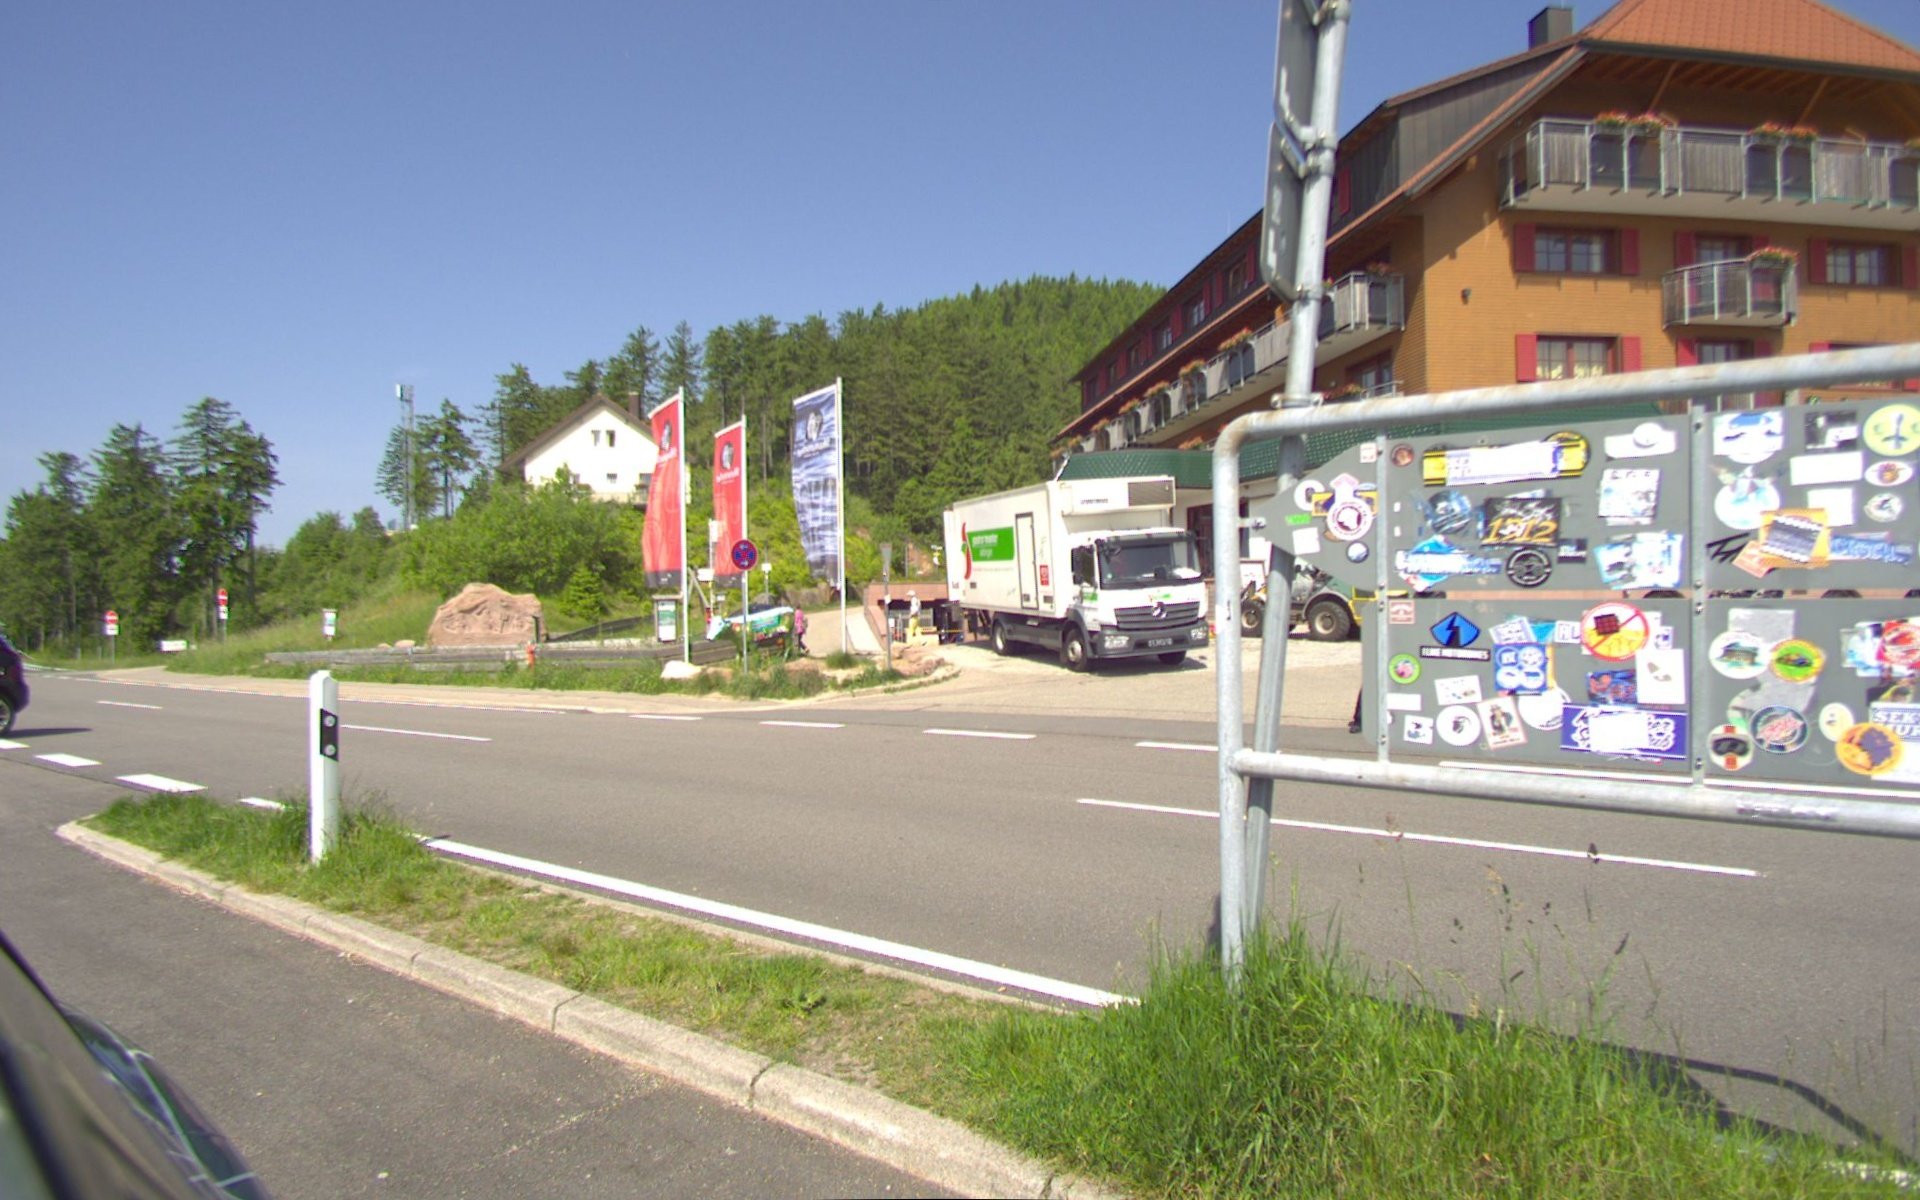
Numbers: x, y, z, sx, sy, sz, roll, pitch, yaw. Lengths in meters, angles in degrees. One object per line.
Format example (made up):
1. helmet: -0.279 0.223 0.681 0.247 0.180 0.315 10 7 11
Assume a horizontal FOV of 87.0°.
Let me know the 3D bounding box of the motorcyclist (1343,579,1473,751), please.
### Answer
1. motorcyclist: 4.686 0.658 10.703 1.019 1.688 1.287 -1 -1 15

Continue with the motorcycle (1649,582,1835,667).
1. motorcycle: 13.822 0.397 18.004 2.431 1.417 0.998 1 2 25

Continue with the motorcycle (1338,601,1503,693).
1. motorcycle: 7.252 0.712 15.963 2.240 1.266 0.881 -3 1 -12

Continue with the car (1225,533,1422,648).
1. car: 8.669 -0.221 24.286 3.999 2.515 1.972 1 0 41

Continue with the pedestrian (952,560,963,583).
1. pedestrian: -0.161 -2.025 71.969 0.565 1.553 0.633 -7 4 -6

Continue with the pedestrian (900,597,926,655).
1. pedestrian: -1.405 0.781 30.116 0.565 1.702 0.655 0 -2 -19

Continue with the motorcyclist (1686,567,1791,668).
1. motorcyclist: 13.791 0.278 17.975 1.241 1.732 1.056 1 2 25

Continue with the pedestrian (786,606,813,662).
1. pedestrian: -5.074 1.074 31.909 0.687 1.729 0.801 0 -2 -19

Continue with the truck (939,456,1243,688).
1. truck: 2.336 -0.618 22.311 3.018 4.001 8.799 -3 2 -18

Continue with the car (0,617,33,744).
1. car: -13.734 1.060 11.656 1.967 1.629 4.131 -1 0 13

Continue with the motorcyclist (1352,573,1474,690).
1. motorcyclist: 7.132 0.471 15.967 1.428 1.730 0.928 -3 1 -12

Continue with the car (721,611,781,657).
1. car: -8.090 1.280 39.522 1.851 1.364 4.006 -1 4 -5

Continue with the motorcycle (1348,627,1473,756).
1. motorcycle: 4.717 0.901 10.762 0.817 1.186 2.275 -1 -1 15
